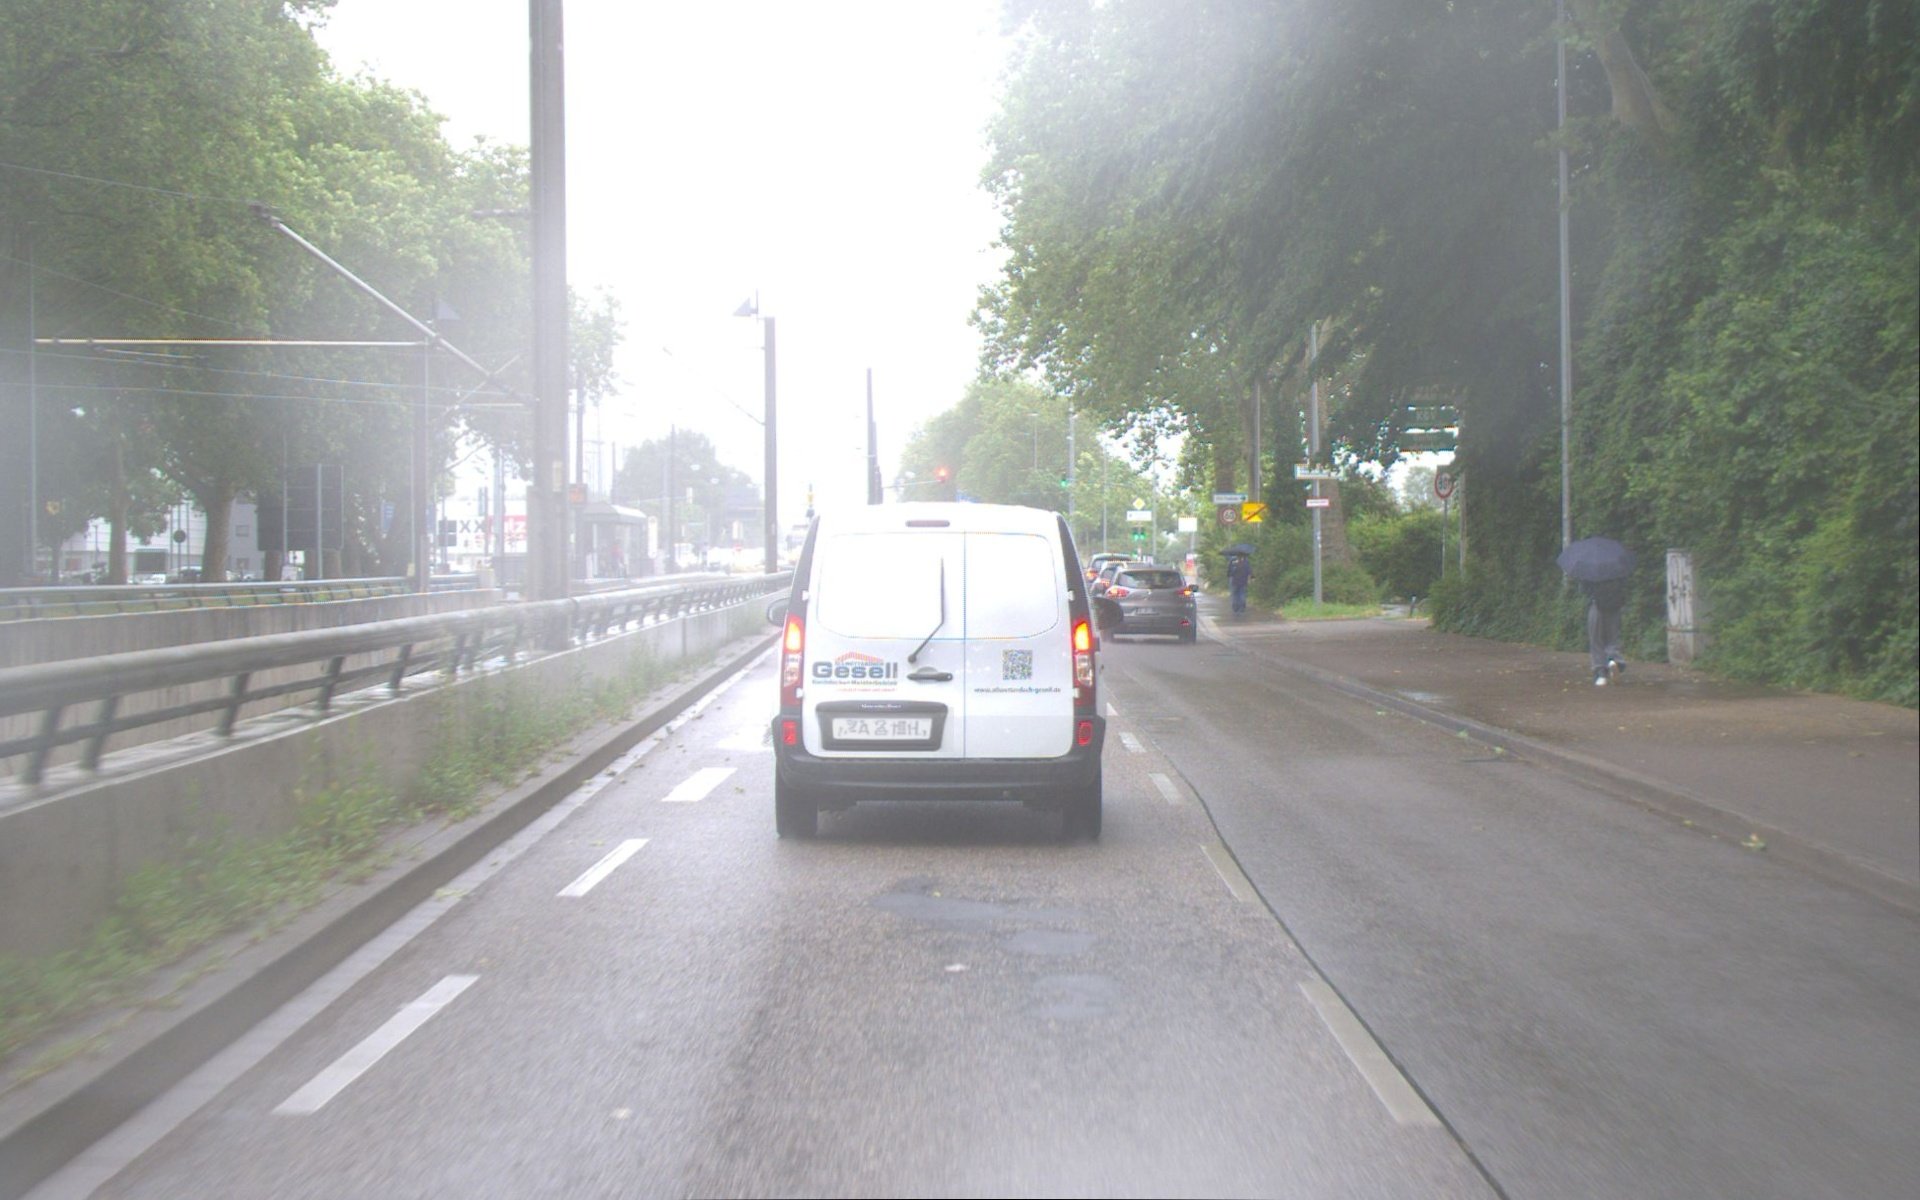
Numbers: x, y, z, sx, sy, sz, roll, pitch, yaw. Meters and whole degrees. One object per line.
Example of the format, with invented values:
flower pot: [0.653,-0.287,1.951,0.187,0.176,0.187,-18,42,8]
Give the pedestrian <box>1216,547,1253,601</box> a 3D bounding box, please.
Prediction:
pedestrian: [7.252,-0.698,90.726,0.892,1.385,1.016,-2,1,2]

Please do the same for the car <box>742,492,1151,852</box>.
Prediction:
car: [-0.115,0.336,19.572,2.025,1.769,4.274,2,1,-1]

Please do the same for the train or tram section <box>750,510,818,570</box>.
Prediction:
train or tram section: [-12.686,-4.316,250.350,3.770,4.022,27.095,2,1,-1]

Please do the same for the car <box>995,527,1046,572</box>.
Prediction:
car: [2.423,-2.052,138.951,1.993,1.744,4.000,2,1,1]

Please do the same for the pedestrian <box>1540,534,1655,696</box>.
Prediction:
pedestrian: [6.921,0.152,37.383,0.967,1.696,1.141,3,1,0]

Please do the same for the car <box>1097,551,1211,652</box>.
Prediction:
car: [3.597,0.000,63.749,1.994,1.744,4.000,2,1,3]
